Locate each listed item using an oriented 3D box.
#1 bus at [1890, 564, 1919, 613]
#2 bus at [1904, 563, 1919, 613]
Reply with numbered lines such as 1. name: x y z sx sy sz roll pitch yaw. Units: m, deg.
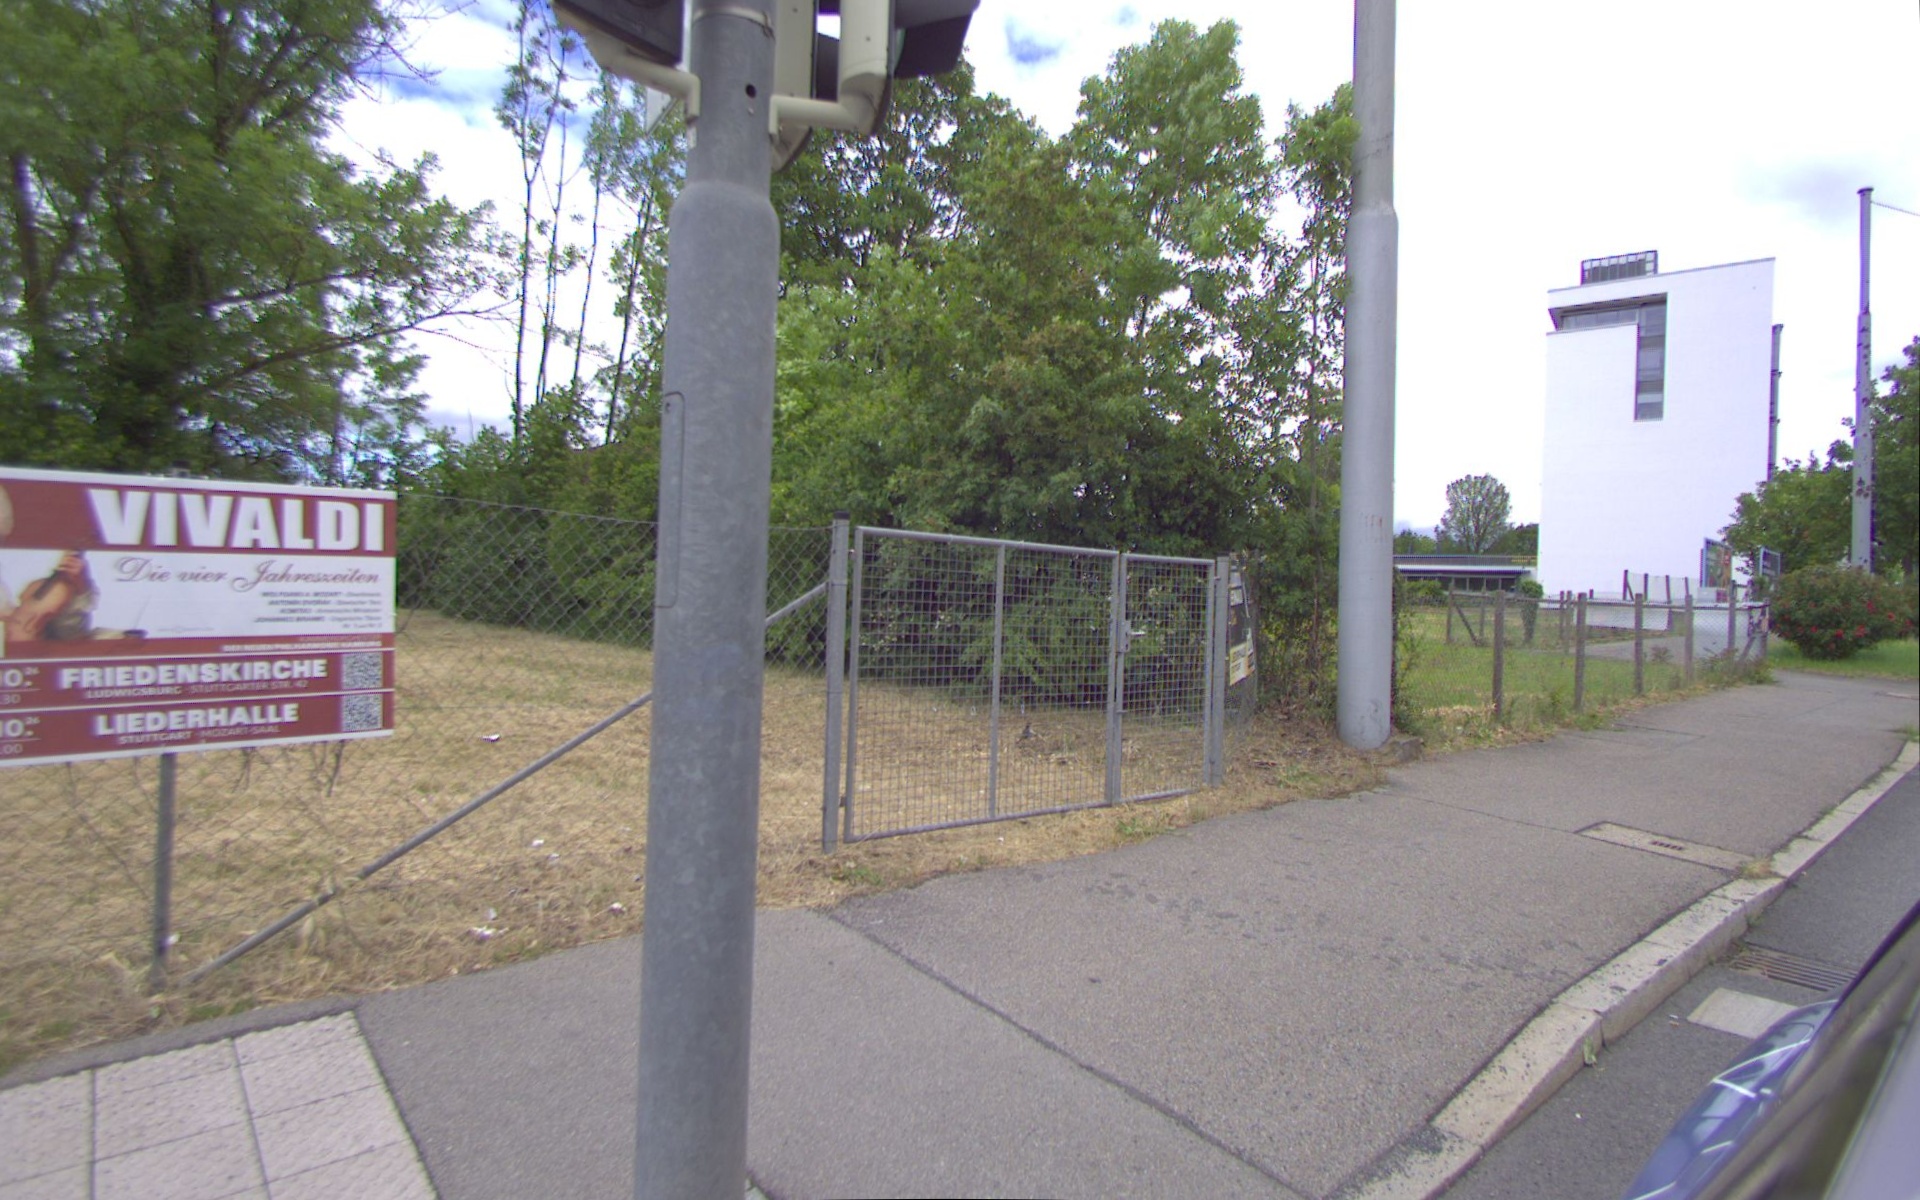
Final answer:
1. bus: 69.139 -0.671 72.462 2.710 3.144 8.746 9 5 38
2. bus: 63.699 -0.675 65.458 2.709 3.201 9.002 7 4 38
